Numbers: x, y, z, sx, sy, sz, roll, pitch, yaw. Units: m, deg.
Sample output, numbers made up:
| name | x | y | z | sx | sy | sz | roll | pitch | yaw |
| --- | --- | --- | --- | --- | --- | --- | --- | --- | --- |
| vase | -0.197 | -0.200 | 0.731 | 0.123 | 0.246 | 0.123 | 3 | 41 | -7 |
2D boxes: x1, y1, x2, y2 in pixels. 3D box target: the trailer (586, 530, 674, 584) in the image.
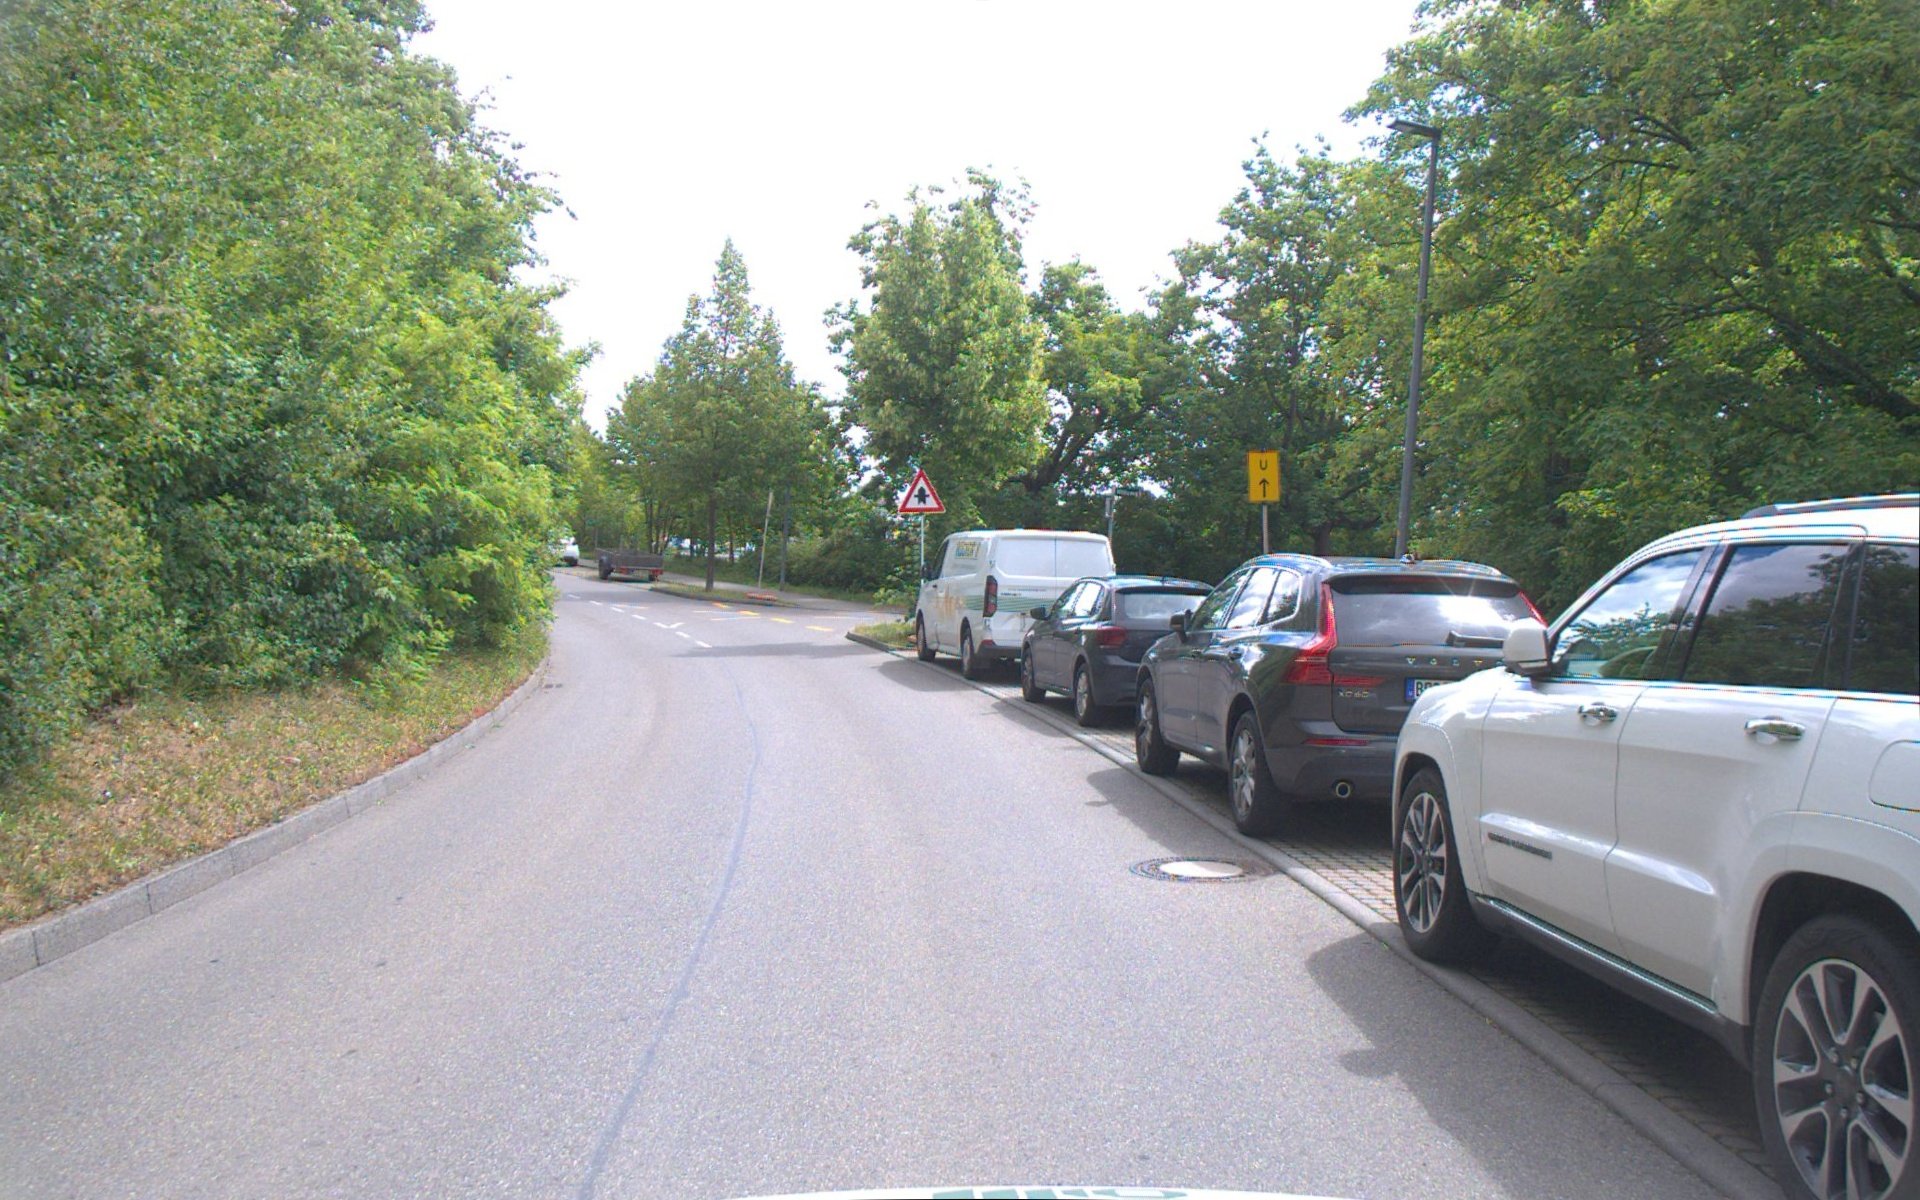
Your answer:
| name | x | y | z | sx | sy | sz | roll | pitch | yaw |
| --- | --- | --- | --- | --- | --- | --- | --- | --- | --- |
| trailer | -10.949 | -1.453 | 54.708 | 1.764 | 1.552 | 3.965 | 1 | 4 | -28 |

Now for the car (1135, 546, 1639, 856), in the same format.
| name | x | y | z | sx | sy | sz | roll | pitch | yaw |
| --- | --- | --- | --- | --- | --- | --- | --- | --- | --- |
| car | 2.541 | 0.488 | 11.055 | 1.955 | 1.654 | 4.274 | 0 | 2 | -5 |

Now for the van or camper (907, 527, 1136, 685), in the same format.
| name | x | y | z | sx | sy | sz | roll | pitch | yaw |
| --- | --- | --- | --- | --- | --- | --- | --- | --- | --- |
| van or camper | 0.709 | -0.003 | 23.483 | 1.959 | 1.953 | 5.250 | 1 | 2 | -12 |

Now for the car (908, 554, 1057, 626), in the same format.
| name | x | y | z | sx | sy | sz | roll | pitch | yaw |
| --- | --- | --- | --- | --- | --- | --- | --- | --- | --- |
| car | 0.541 | -0.259 | 42.118 | 3.471 | 1.506 | 1.778 | 4 | 2 | -10 |

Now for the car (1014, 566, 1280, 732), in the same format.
| name | x | y | z | sx | sy | sz | roll | pitch | yaw |
| --- | --- | --- | --- | --- | --- | --- | --- | --- | --- |
| car | 1.837 | 0.434 | 17.558 | 1.764 | 1.489 | 3.992 | 3 | 1 | -9 |

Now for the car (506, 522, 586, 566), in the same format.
| name | x | y | z | sx | sy | sz | roll | pitch | yaw |
| --- | --- | --- | --- | --- | --- | --- | --- | --- | --- |
| car | -15.697 | -2.141 | 62.616 | 1.753 | 1.435 | 3.957 | 0 | 5 | -33 |

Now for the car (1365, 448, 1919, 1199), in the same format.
| name | x | y | z | sx | sy | sz | roll | pitch | yaw |
| --- | --- | --- | --- | --- | --- | --- | --- | --- | --- |
| car | 2.861 | 0.564 | 4.999 | 1.834 | 1.718 | 4.577 | 4 | 1 | -3 |
